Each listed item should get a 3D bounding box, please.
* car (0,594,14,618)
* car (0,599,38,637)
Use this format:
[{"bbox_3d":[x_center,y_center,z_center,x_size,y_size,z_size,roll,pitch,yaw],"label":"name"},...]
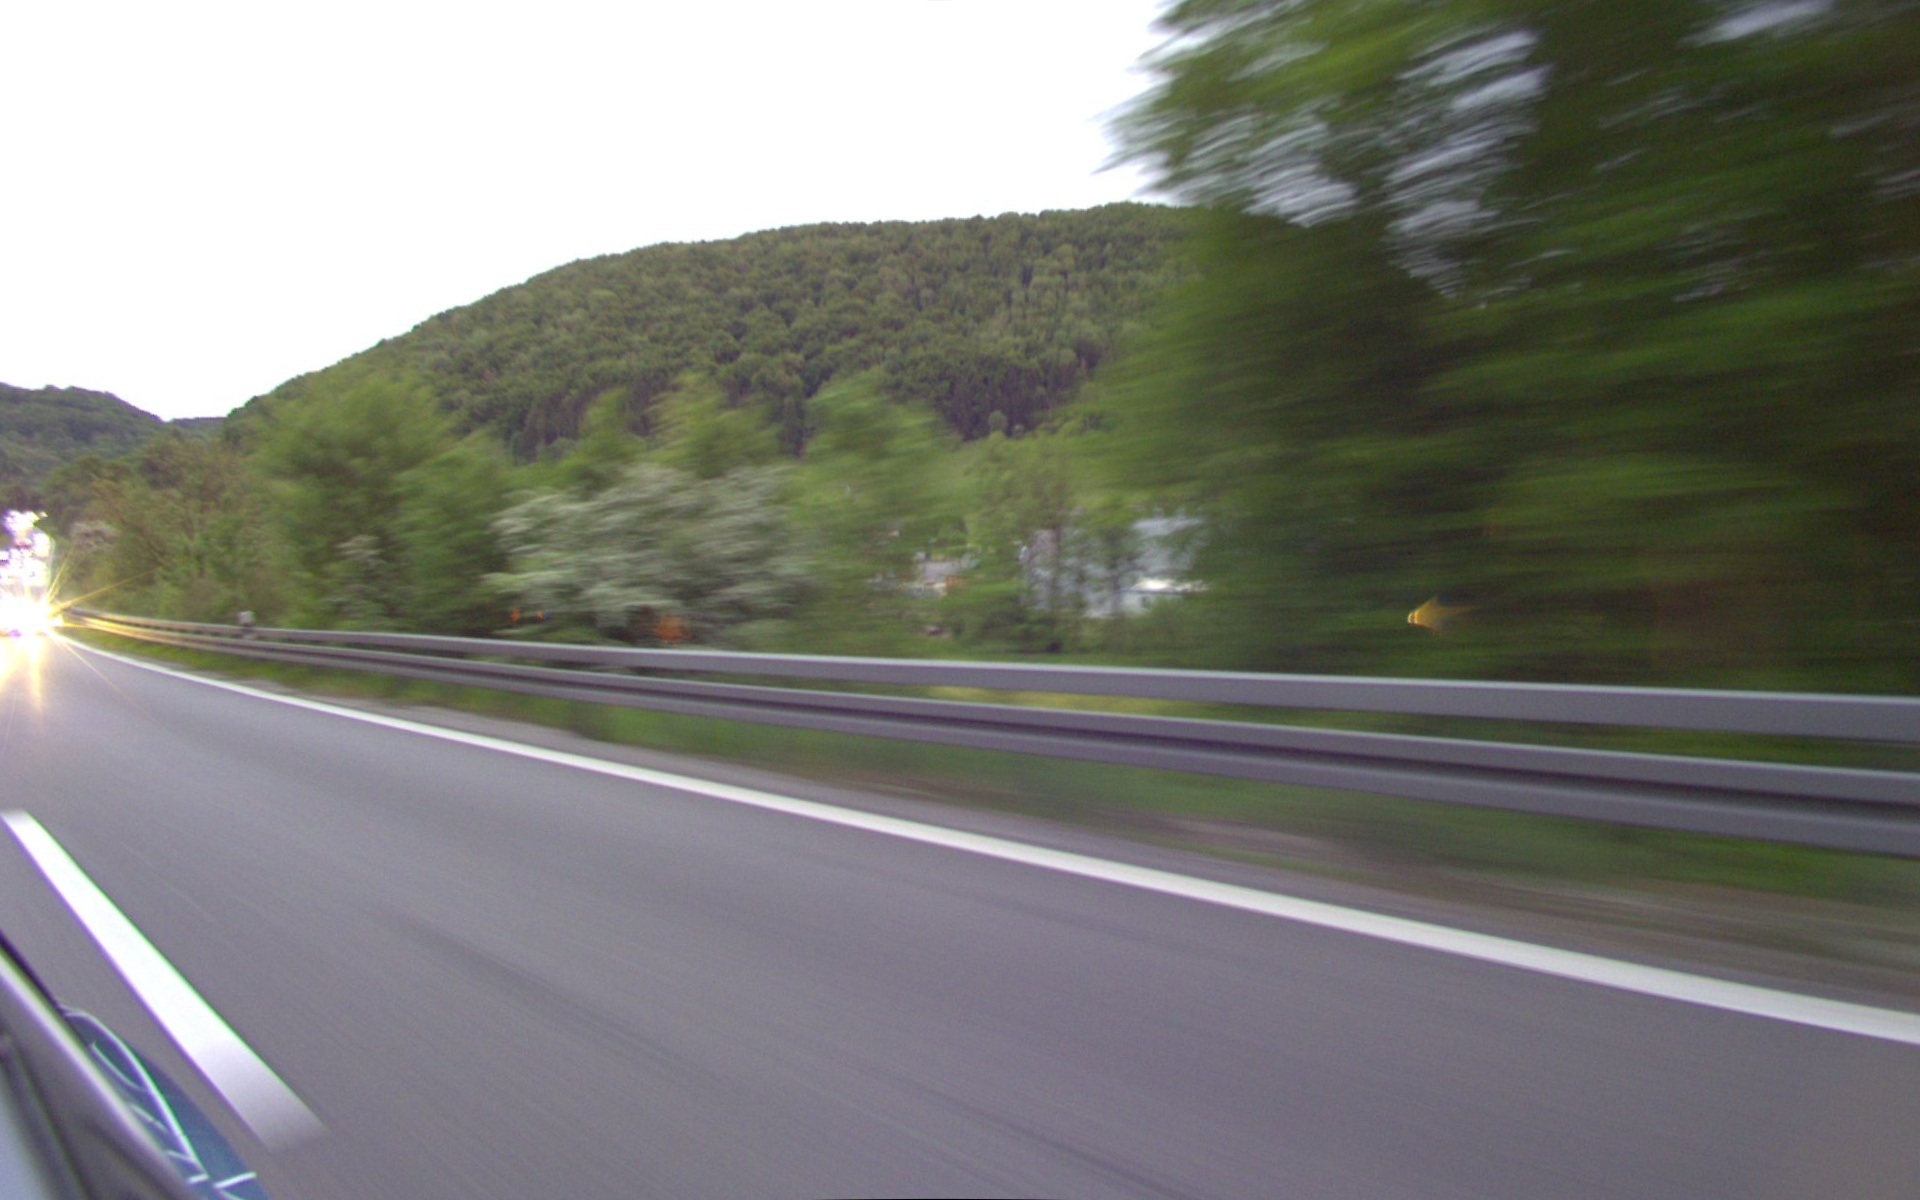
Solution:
[{"bbox_3d":[-60.710,0.402,63.595,3.670,1.444,1.667,-1,1,45],"label":"car"},{"bbox_3d":[-38.980,0.741,41.341,3.768,1.479,1.667,-1,1,43],"label":"car"}]
